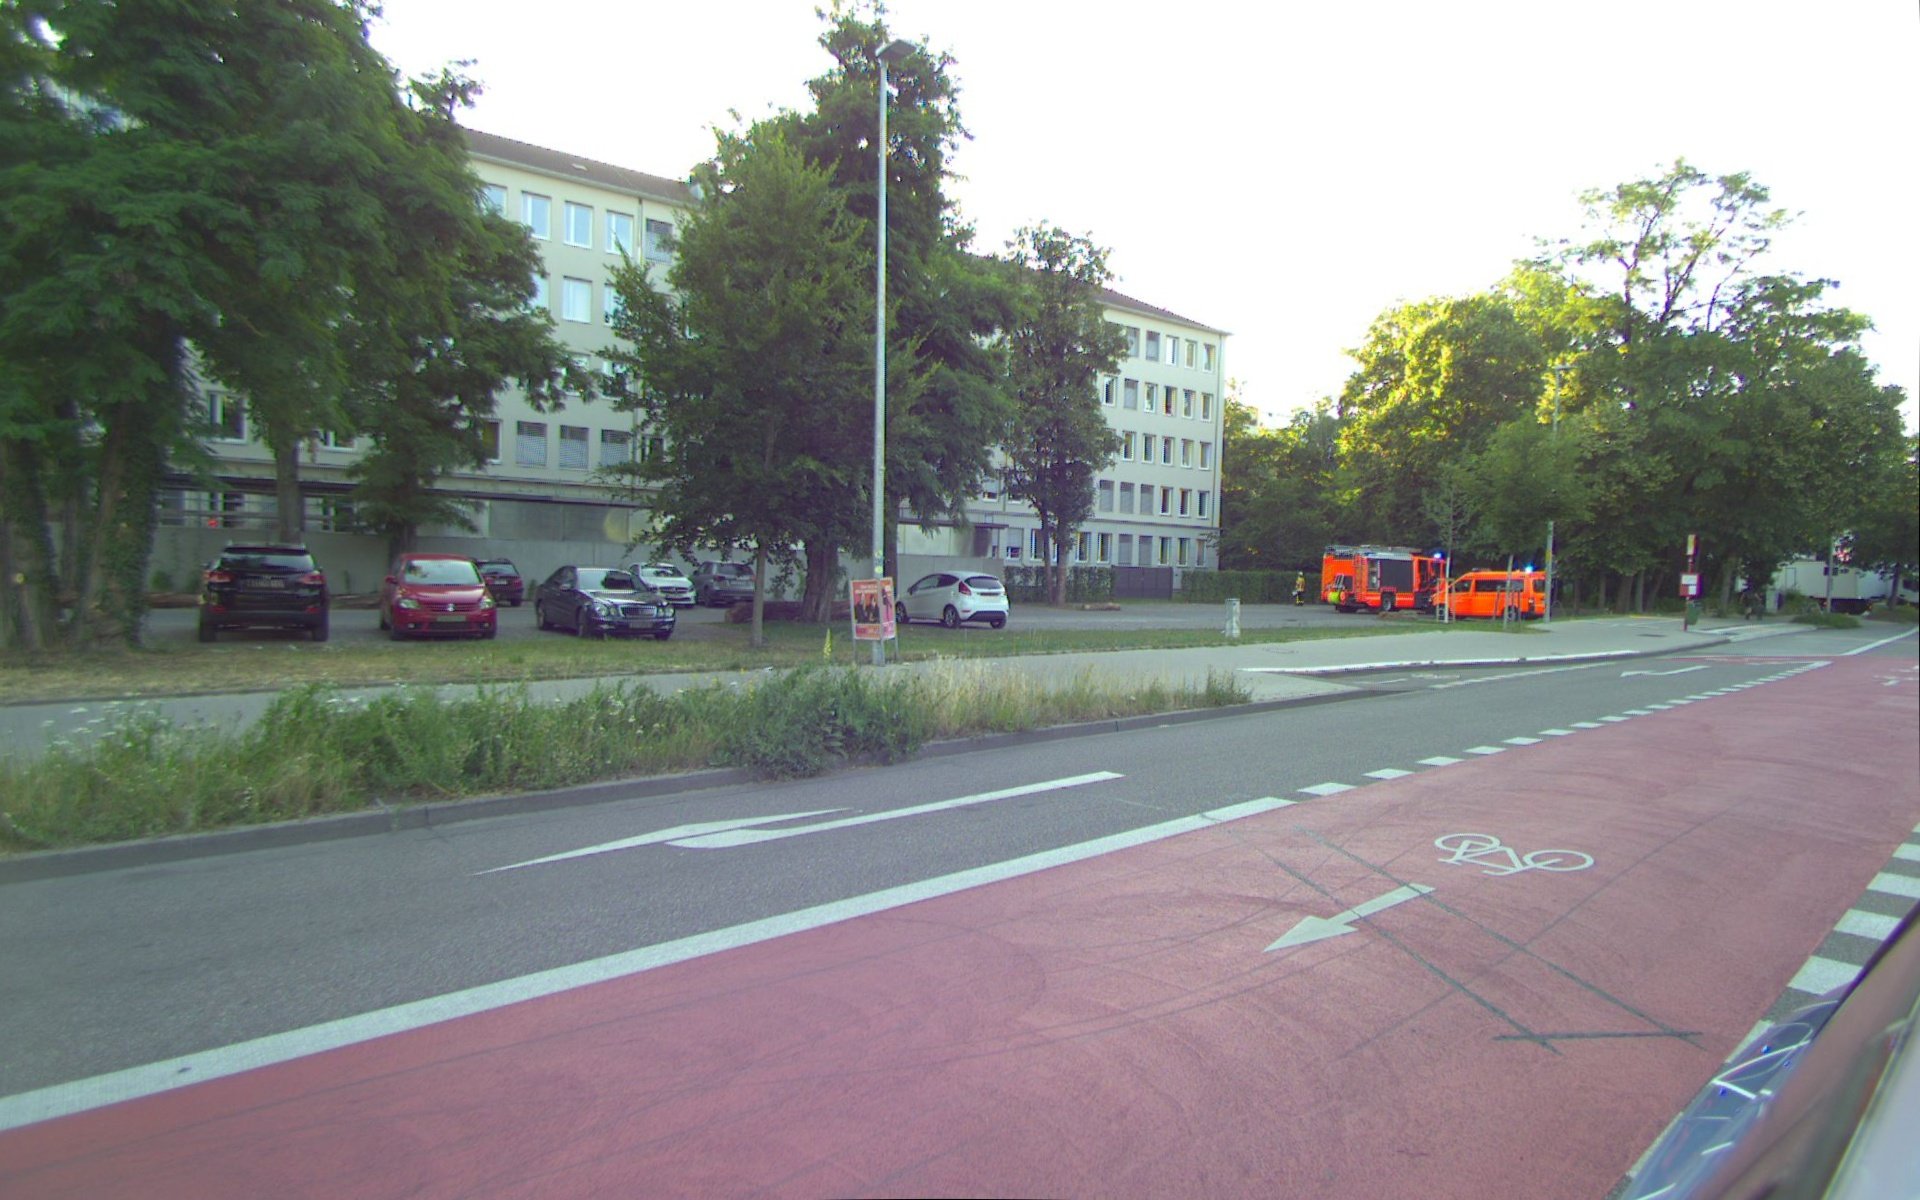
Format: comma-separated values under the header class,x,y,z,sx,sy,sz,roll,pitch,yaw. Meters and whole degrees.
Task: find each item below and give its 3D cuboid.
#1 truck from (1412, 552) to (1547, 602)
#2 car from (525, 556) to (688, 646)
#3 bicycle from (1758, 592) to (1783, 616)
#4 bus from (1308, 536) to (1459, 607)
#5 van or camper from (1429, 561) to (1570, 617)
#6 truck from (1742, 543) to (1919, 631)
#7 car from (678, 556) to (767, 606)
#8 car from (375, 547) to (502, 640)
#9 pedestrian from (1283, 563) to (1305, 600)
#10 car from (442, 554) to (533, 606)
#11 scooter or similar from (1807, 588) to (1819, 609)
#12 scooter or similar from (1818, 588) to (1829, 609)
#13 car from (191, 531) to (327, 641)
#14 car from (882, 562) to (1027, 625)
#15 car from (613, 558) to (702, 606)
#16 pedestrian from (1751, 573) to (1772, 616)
class,x,y,z,sx,sy,sz,roll,pitch,yaw
truck,36.657,-1.723,71.865,2.703,3.250,8.683,1,2,-24
car,-7.447,-0.084,21.014,1.866,1.465,4.584,-2,6,-37
bicycle,39.402,0.180,49.232,0.828,1.111,1.943,3,2,36
bus,20.782,-1.345,49.480,7.810,3.236,2.999,0,1,-34
van or camper,23.014,-0.510,43.345,2.251,2.272,4.829,0,1,-35
truck,64.149,-1.041,72.725,5.069,5.642,15.067,2,2,5
car,-8.355,-0.691,35.428,1.875,1.636,4.004,-1,2,-32
car,-10.156,-0.194,19.554,1.751,1.580,4.003,0,2,-34
pedestrian,18.406,-1.022,55.746,0.810,2.038,0.774,1,2,-32
car,-14.465,-0.629,30.876,1.866,1.460,4.001,0,2,-35
scooter or similar,53.343,-0.115,63.259,0.482,1.297,1.213,5,3,40
scooter or similar,54.835,-0.084,64.260,0.482,1.297,1.123,5,3,41
car,-12.400,-0.279,17.895,1.802,1.715,3.910,0,1,-36
car,-0.212,-0.225,27.068,1.876,1.556,3.999,0,2,-37
car,-10.145,-0.625,33.732,1.798,1.494,4.002,0,1,-33
pedestrian,38.946,-0.291,49.172,0.721,2.038,0.686,3,2,36
